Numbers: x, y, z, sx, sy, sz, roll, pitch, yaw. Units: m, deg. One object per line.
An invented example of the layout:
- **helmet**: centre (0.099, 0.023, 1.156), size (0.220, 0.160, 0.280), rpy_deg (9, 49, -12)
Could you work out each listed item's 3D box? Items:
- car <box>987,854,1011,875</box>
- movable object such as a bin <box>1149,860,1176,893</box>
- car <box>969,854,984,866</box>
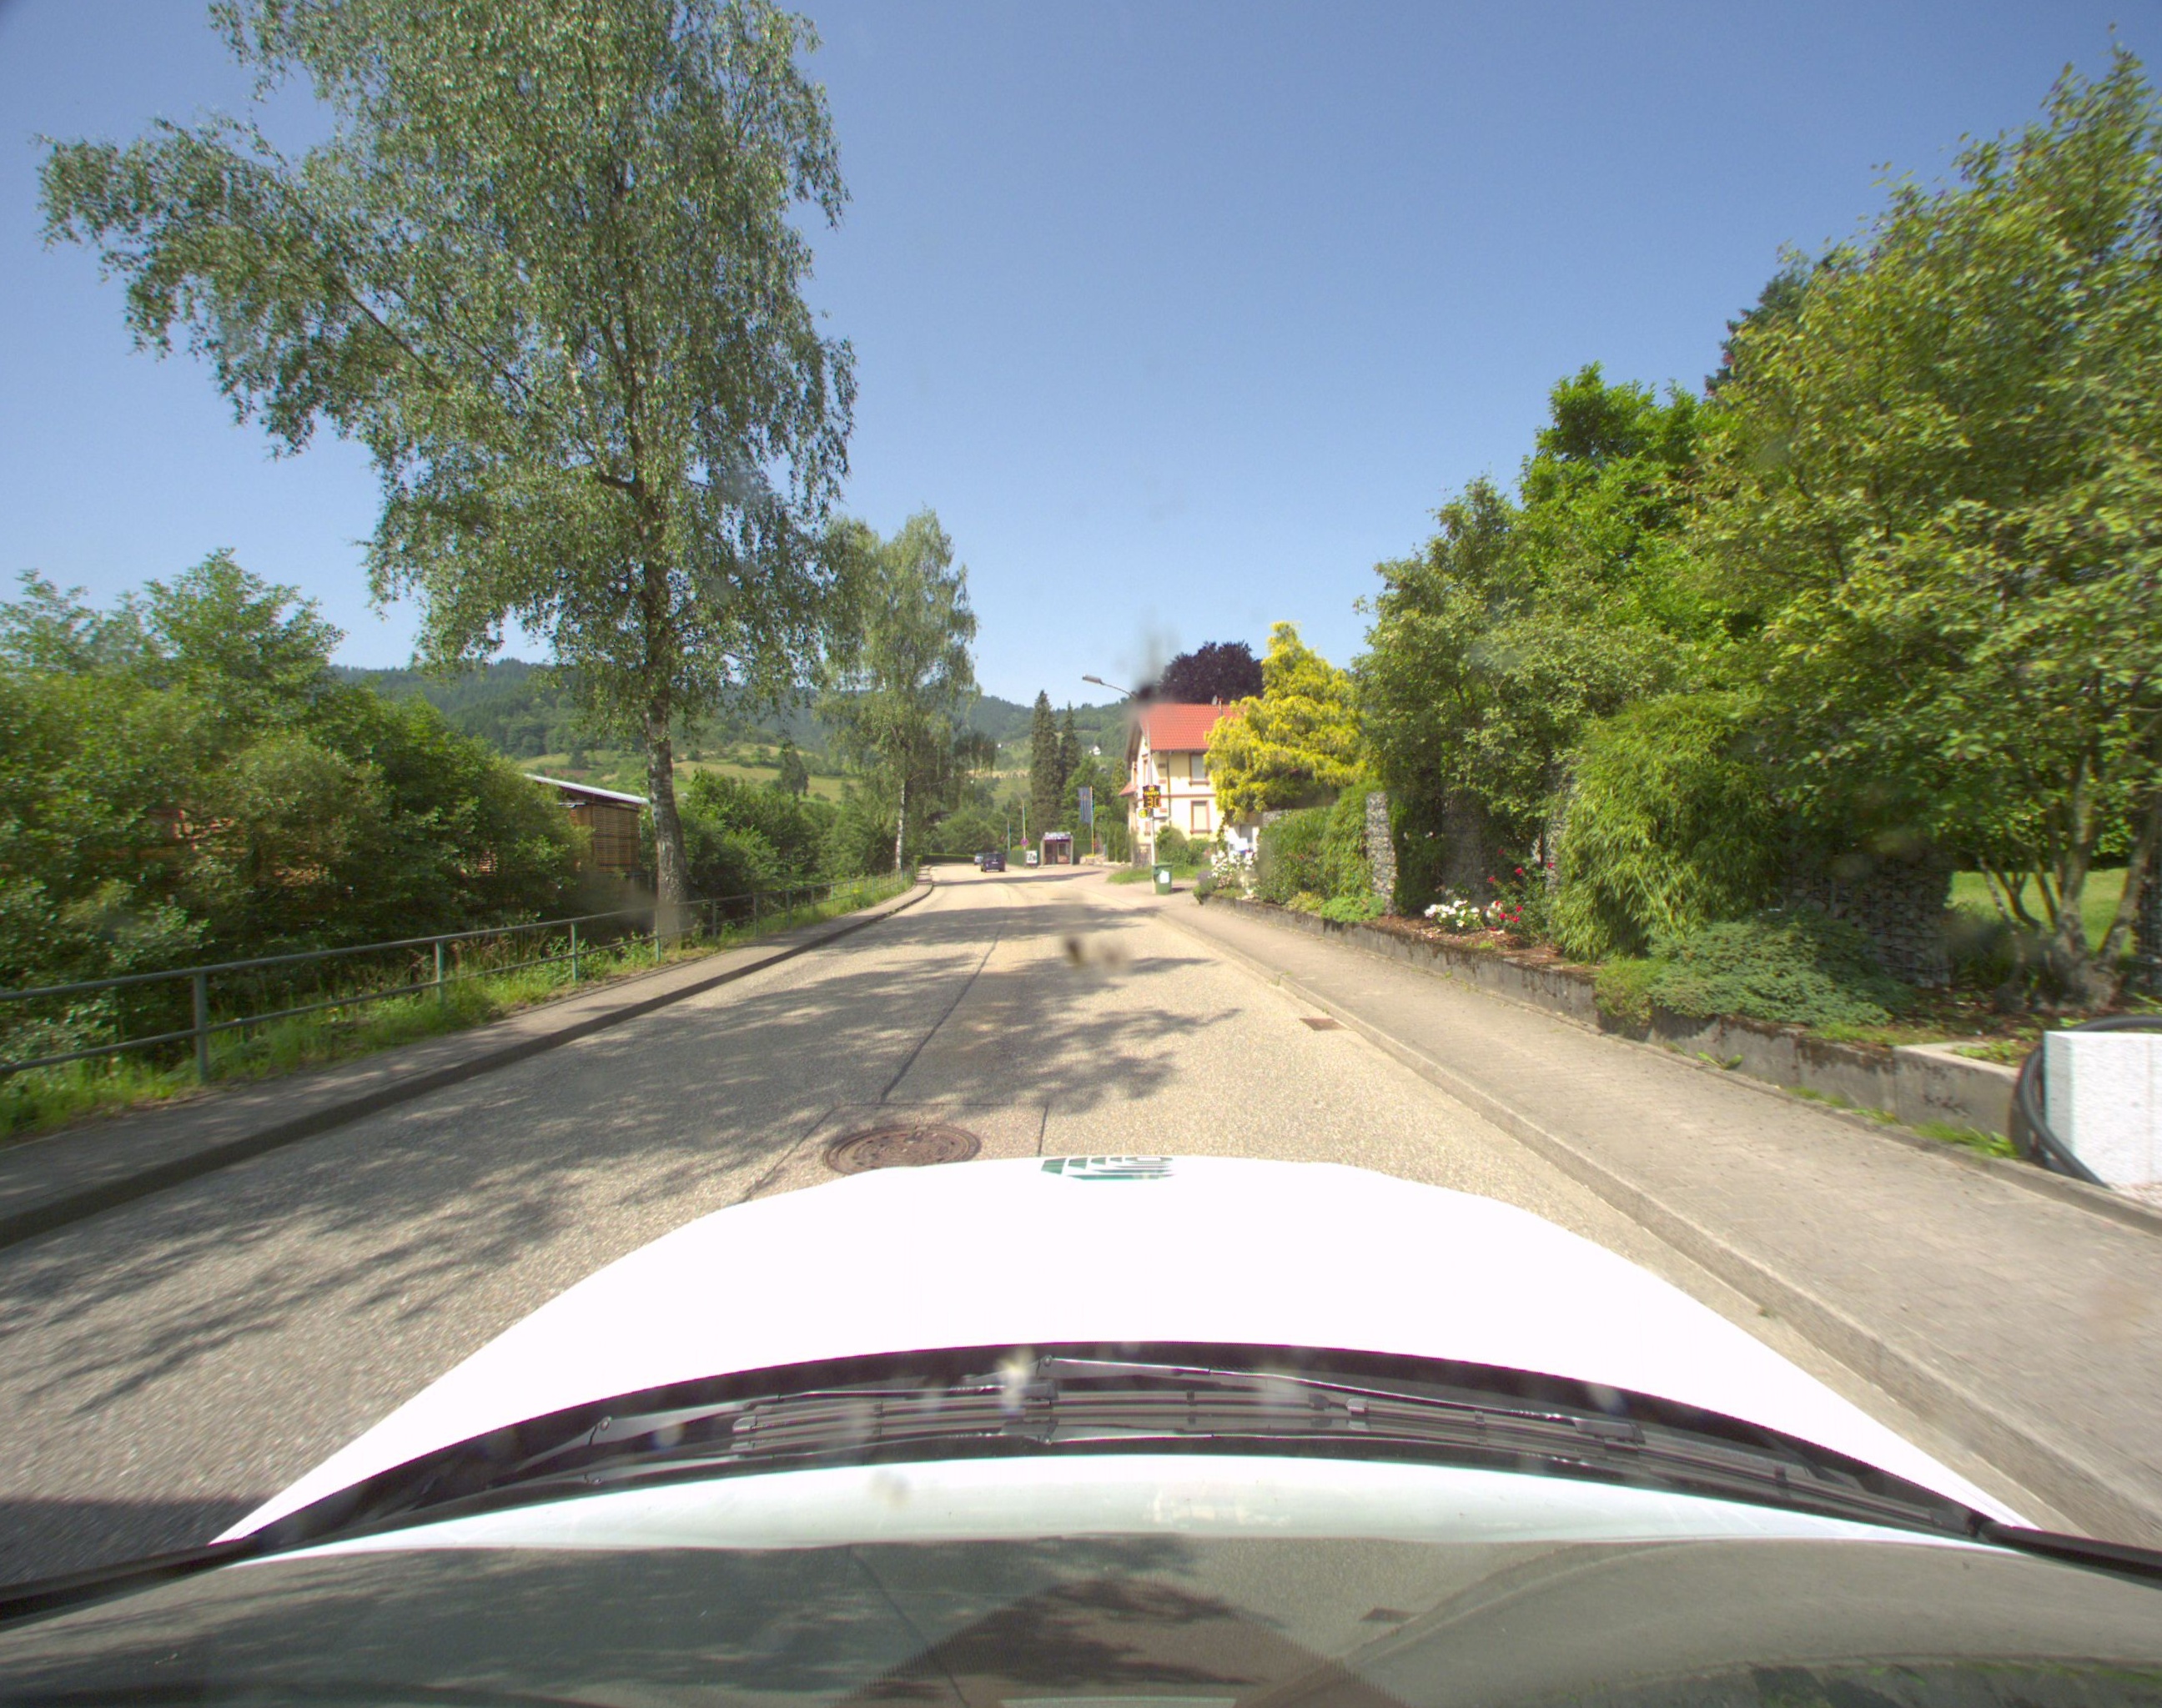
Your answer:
- **car**: centre (-7.015, 0.895, 69.391), size (1.917, 1.698, 3.780), rpy_deg (-2, 0, -6)
- **movable object such as a bin**: centre (2.776, 0.762, 27.793), size (0.808, 1.042, 0.578), rpy_deg (-2, 0, -6)
- **car**: centre (-12.880, 0.750, 100.410), size (1.626, 1.422, 3.393), rpy_deg (-1, 0, -5)
